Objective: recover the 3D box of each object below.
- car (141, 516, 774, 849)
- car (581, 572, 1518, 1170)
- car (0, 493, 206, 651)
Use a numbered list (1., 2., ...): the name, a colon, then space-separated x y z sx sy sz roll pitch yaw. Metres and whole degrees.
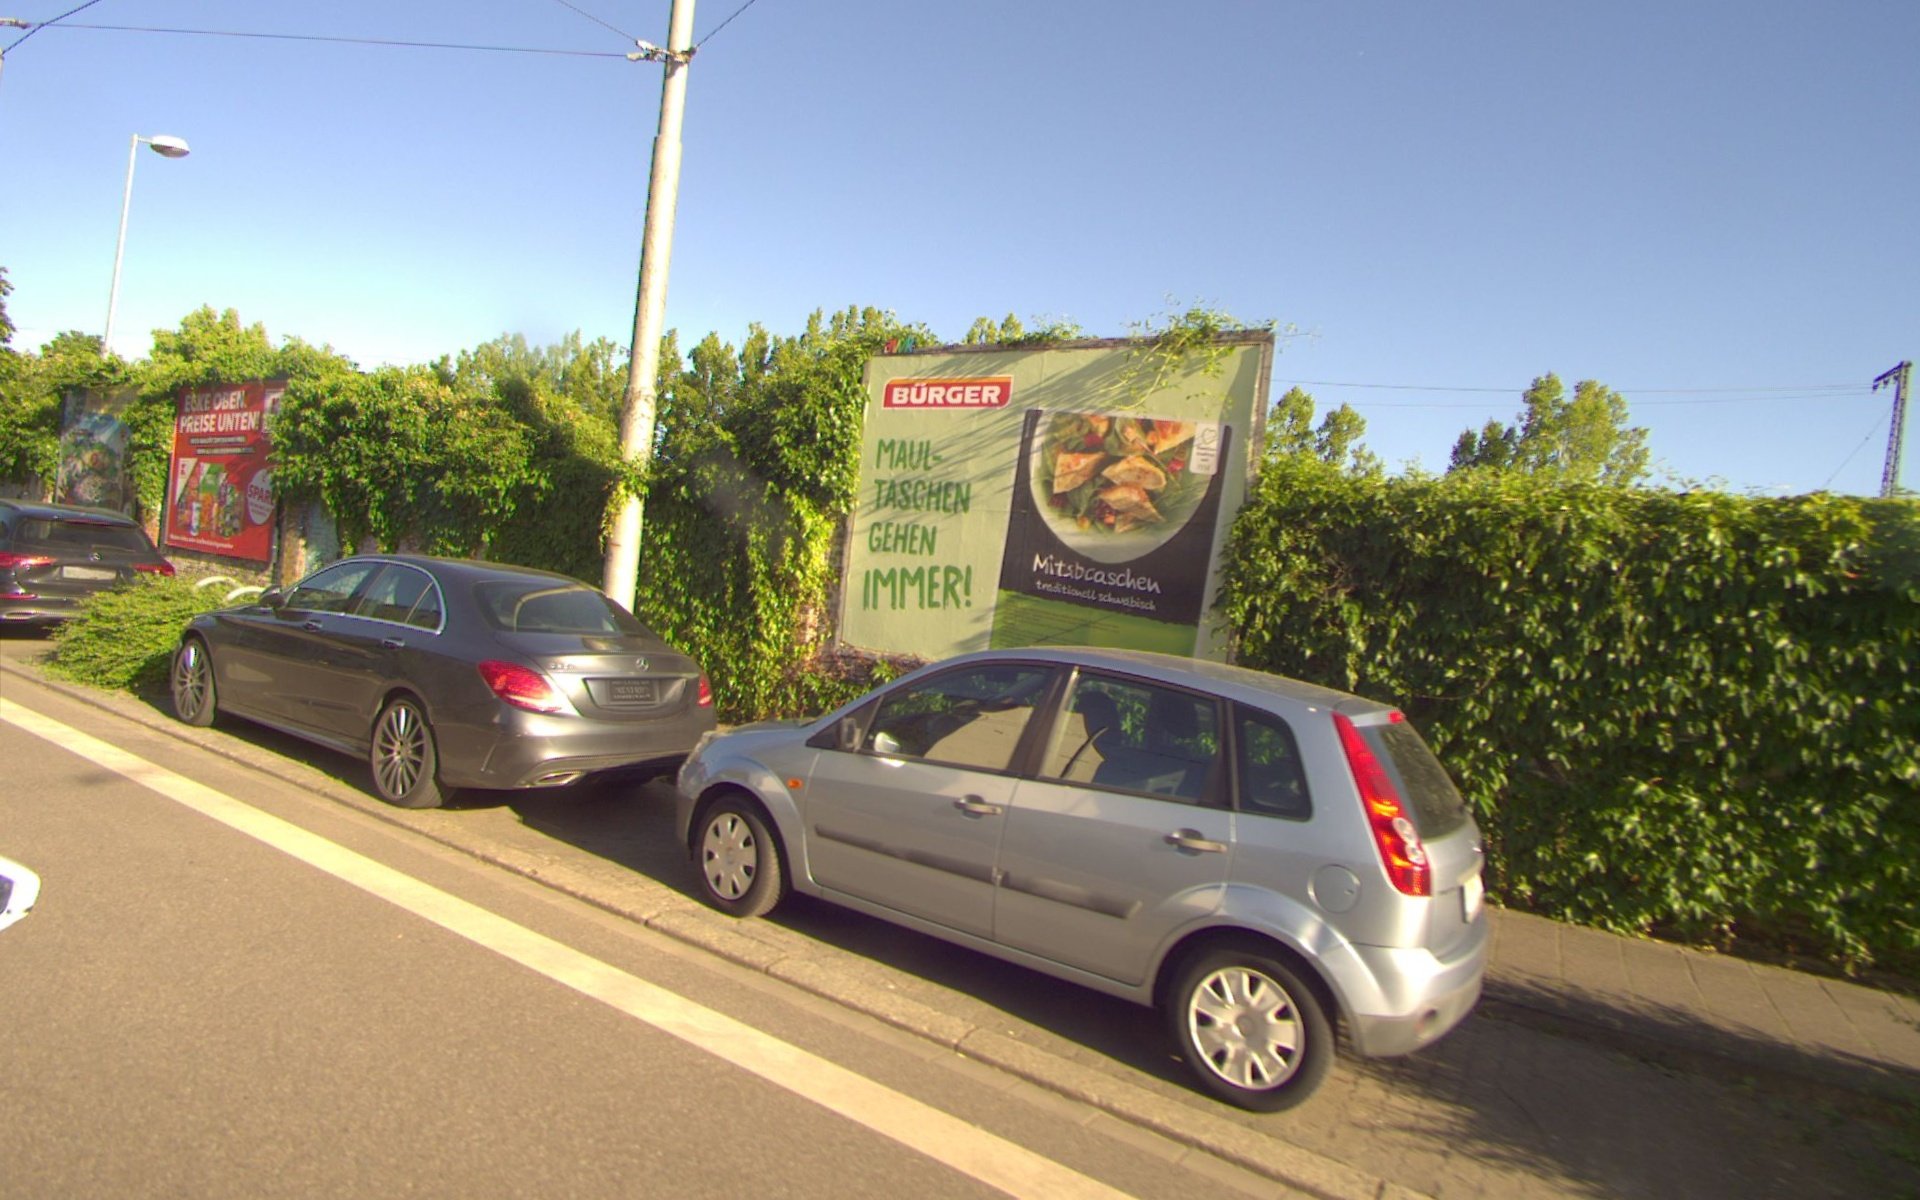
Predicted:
1. car: -3.703 0.411 7.146 4.526 1.502 1.827 6 -2 32
2. car: 0.291 0.868 4.896 4.009 1.490 1.875 6 -2 33
3. car: -10.766 -0.442 11.507 4.565 1.470 1.826 6 0 32
